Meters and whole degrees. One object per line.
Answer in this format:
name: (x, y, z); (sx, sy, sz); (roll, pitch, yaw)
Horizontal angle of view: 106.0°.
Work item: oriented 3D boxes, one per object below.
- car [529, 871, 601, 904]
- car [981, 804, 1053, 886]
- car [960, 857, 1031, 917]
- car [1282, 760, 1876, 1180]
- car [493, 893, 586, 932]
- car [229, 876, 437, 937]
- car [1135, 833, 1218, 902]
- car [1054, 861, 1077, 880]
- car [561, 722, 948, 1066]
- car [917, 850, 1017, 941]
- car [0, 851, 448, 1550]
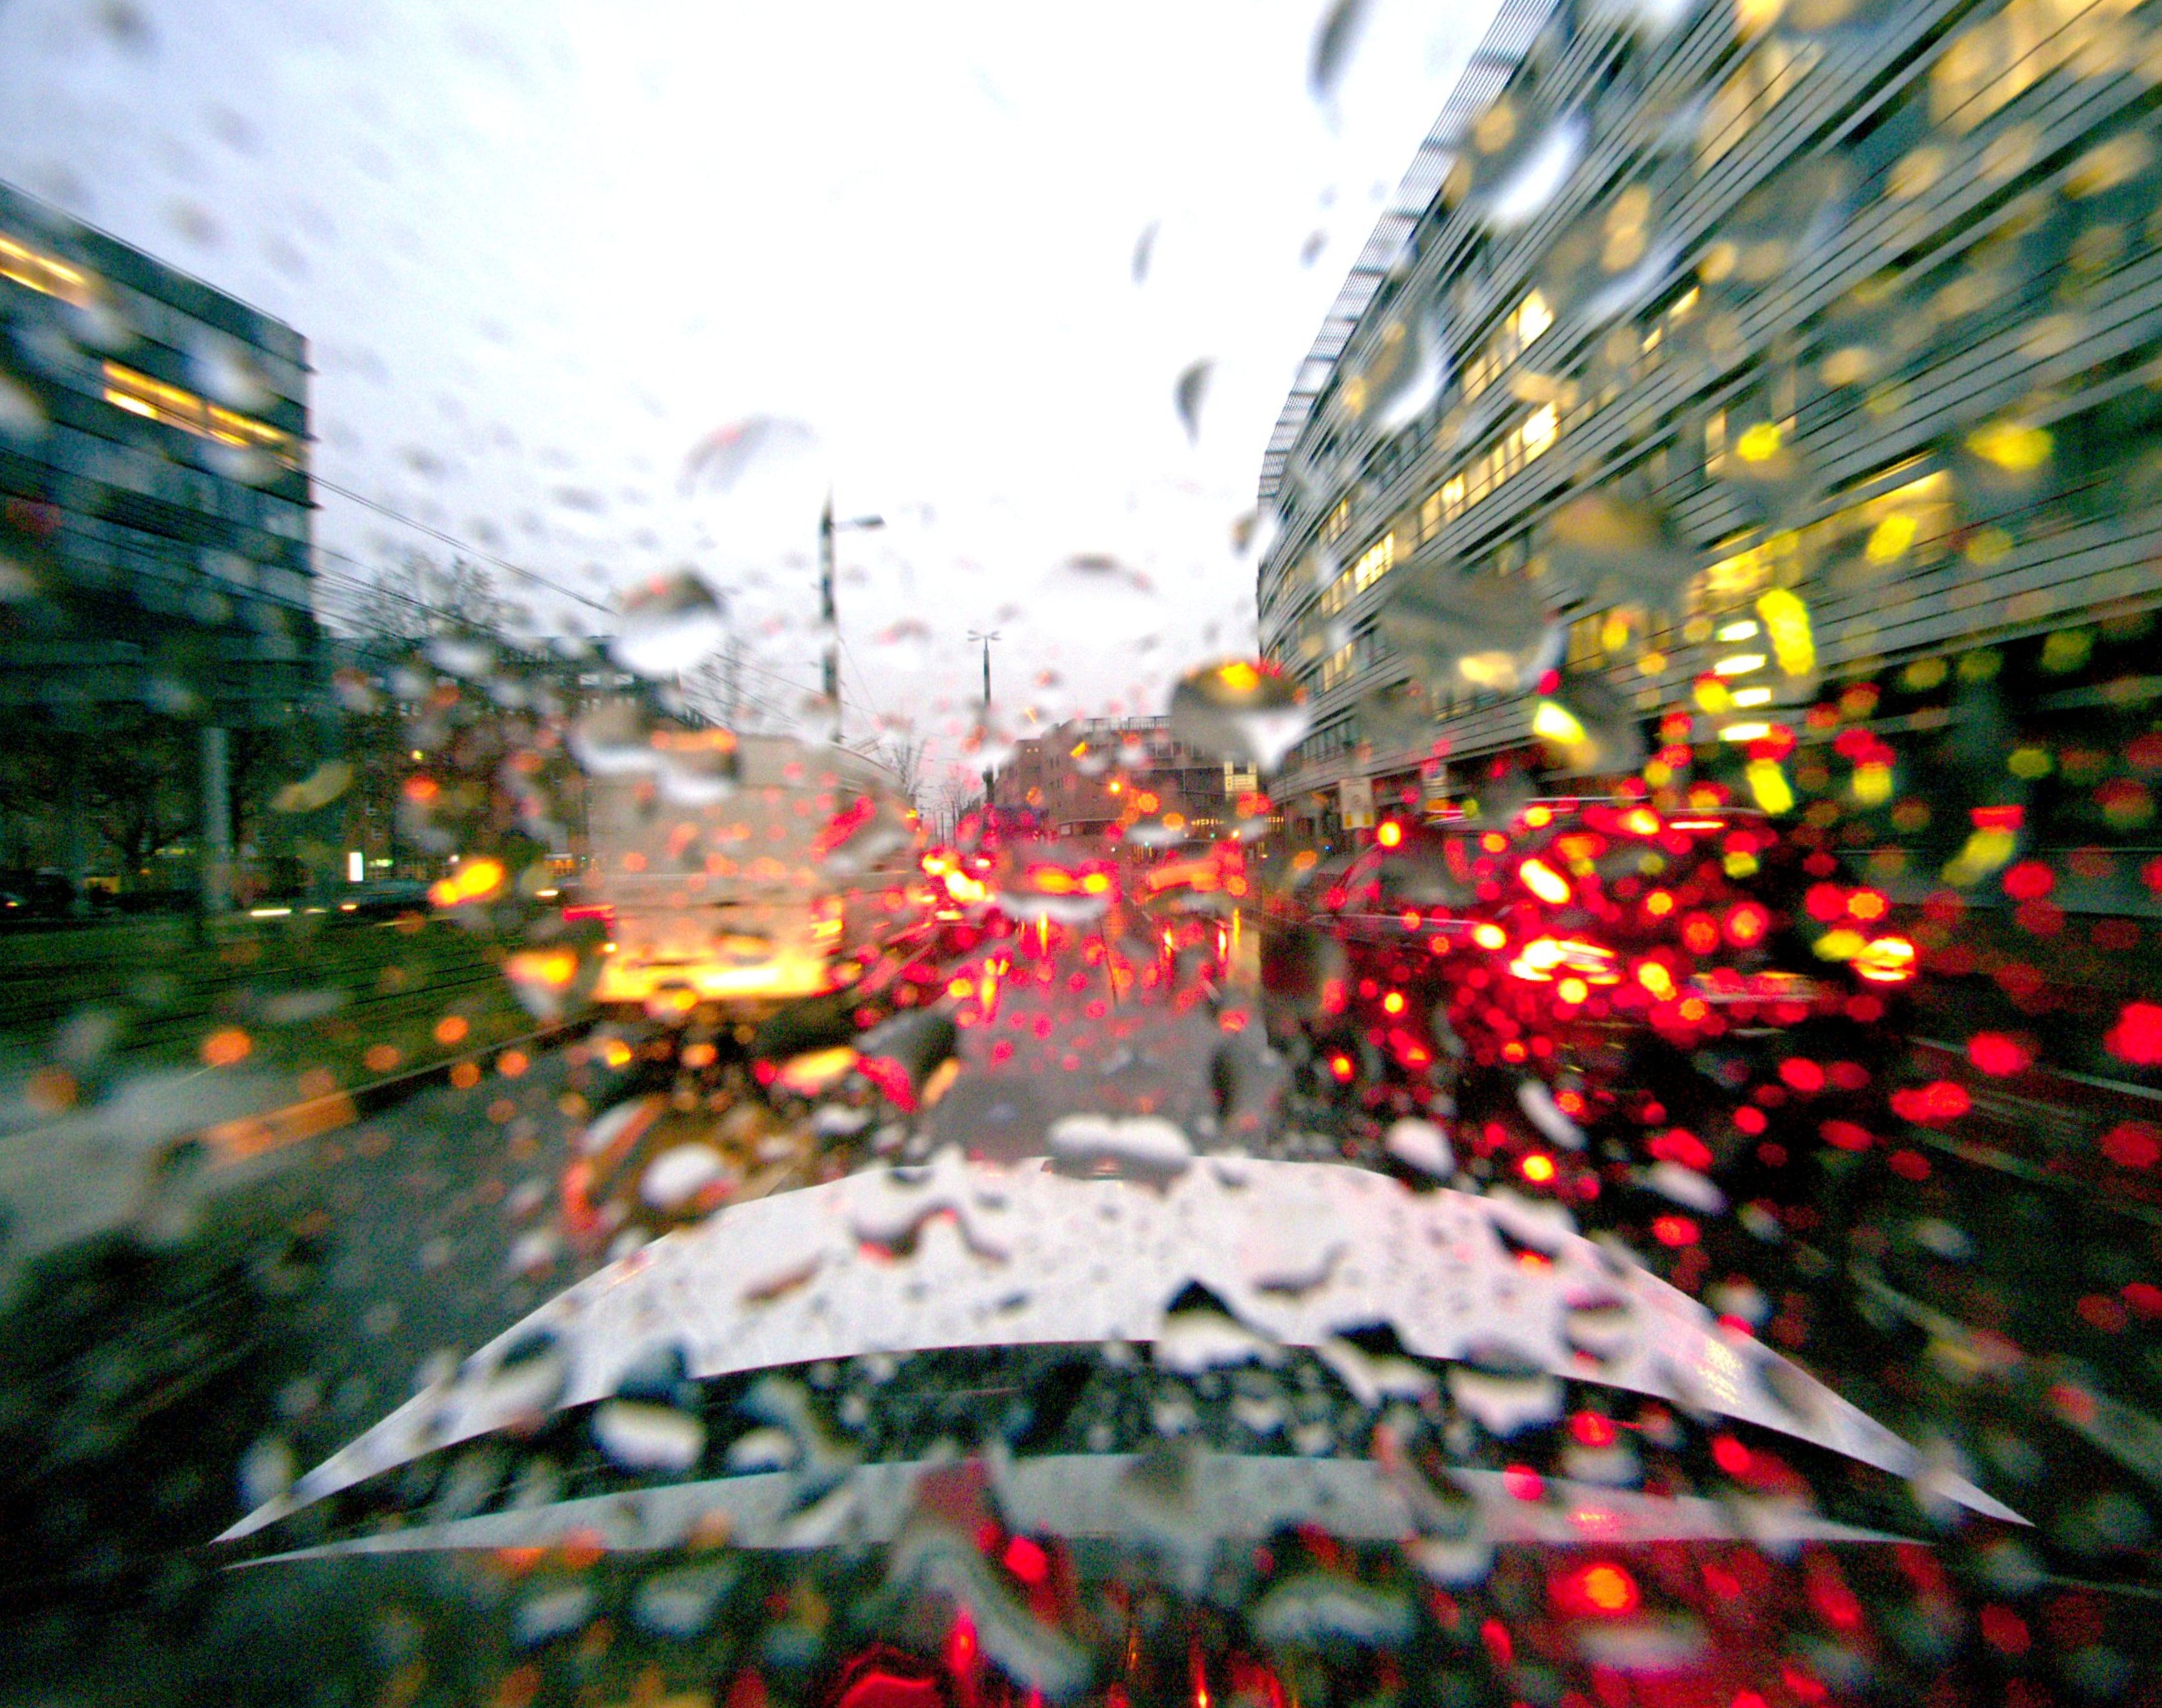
car: (-28.789, 1.823, 45.564); (1.626, 1.692, 3.622); (-2, 0, 1)
car: (-2.360, -0.284, 31.776); (2.348, 2.827, 6.355); (-2, 0, -1)
car: (-2.351, 0.874, 23.245); (1.700, 1.508, 3.997); (-1, 0, -2)
car: (2.654, 0.511, 5.544); (1.667, 1.779, 4.002); (-2, 0, 2)
car: (-23.836, 2.548, 36.002); (1.626, 1.449, 3.622); (-2, 0, 1)
car: (-21.221, 1.434, 23.400); (1.988, 1.449, 4.313); (-2, 0, -1)
car: (2.748, 0.365, 24.298); (1.838, 1.806, 4.484); (-2, 0, -1)
car: (-1.140, 1.241, 62.161); (1.505, 1.306, 3.042); (-2, 0, 2)
car: (-2.845, 0.291, 8.888); (1.989, 2.427, 5.968); (-2, 0, -3)
car: (-2.090, 0.742, 15.722); (1.514, 1.520, 3.467); (-2, -1, -2)
car: (-3.202, 0.780, 1.091); (1.631, 1.496, 3.689); (-2, 0, 3)
